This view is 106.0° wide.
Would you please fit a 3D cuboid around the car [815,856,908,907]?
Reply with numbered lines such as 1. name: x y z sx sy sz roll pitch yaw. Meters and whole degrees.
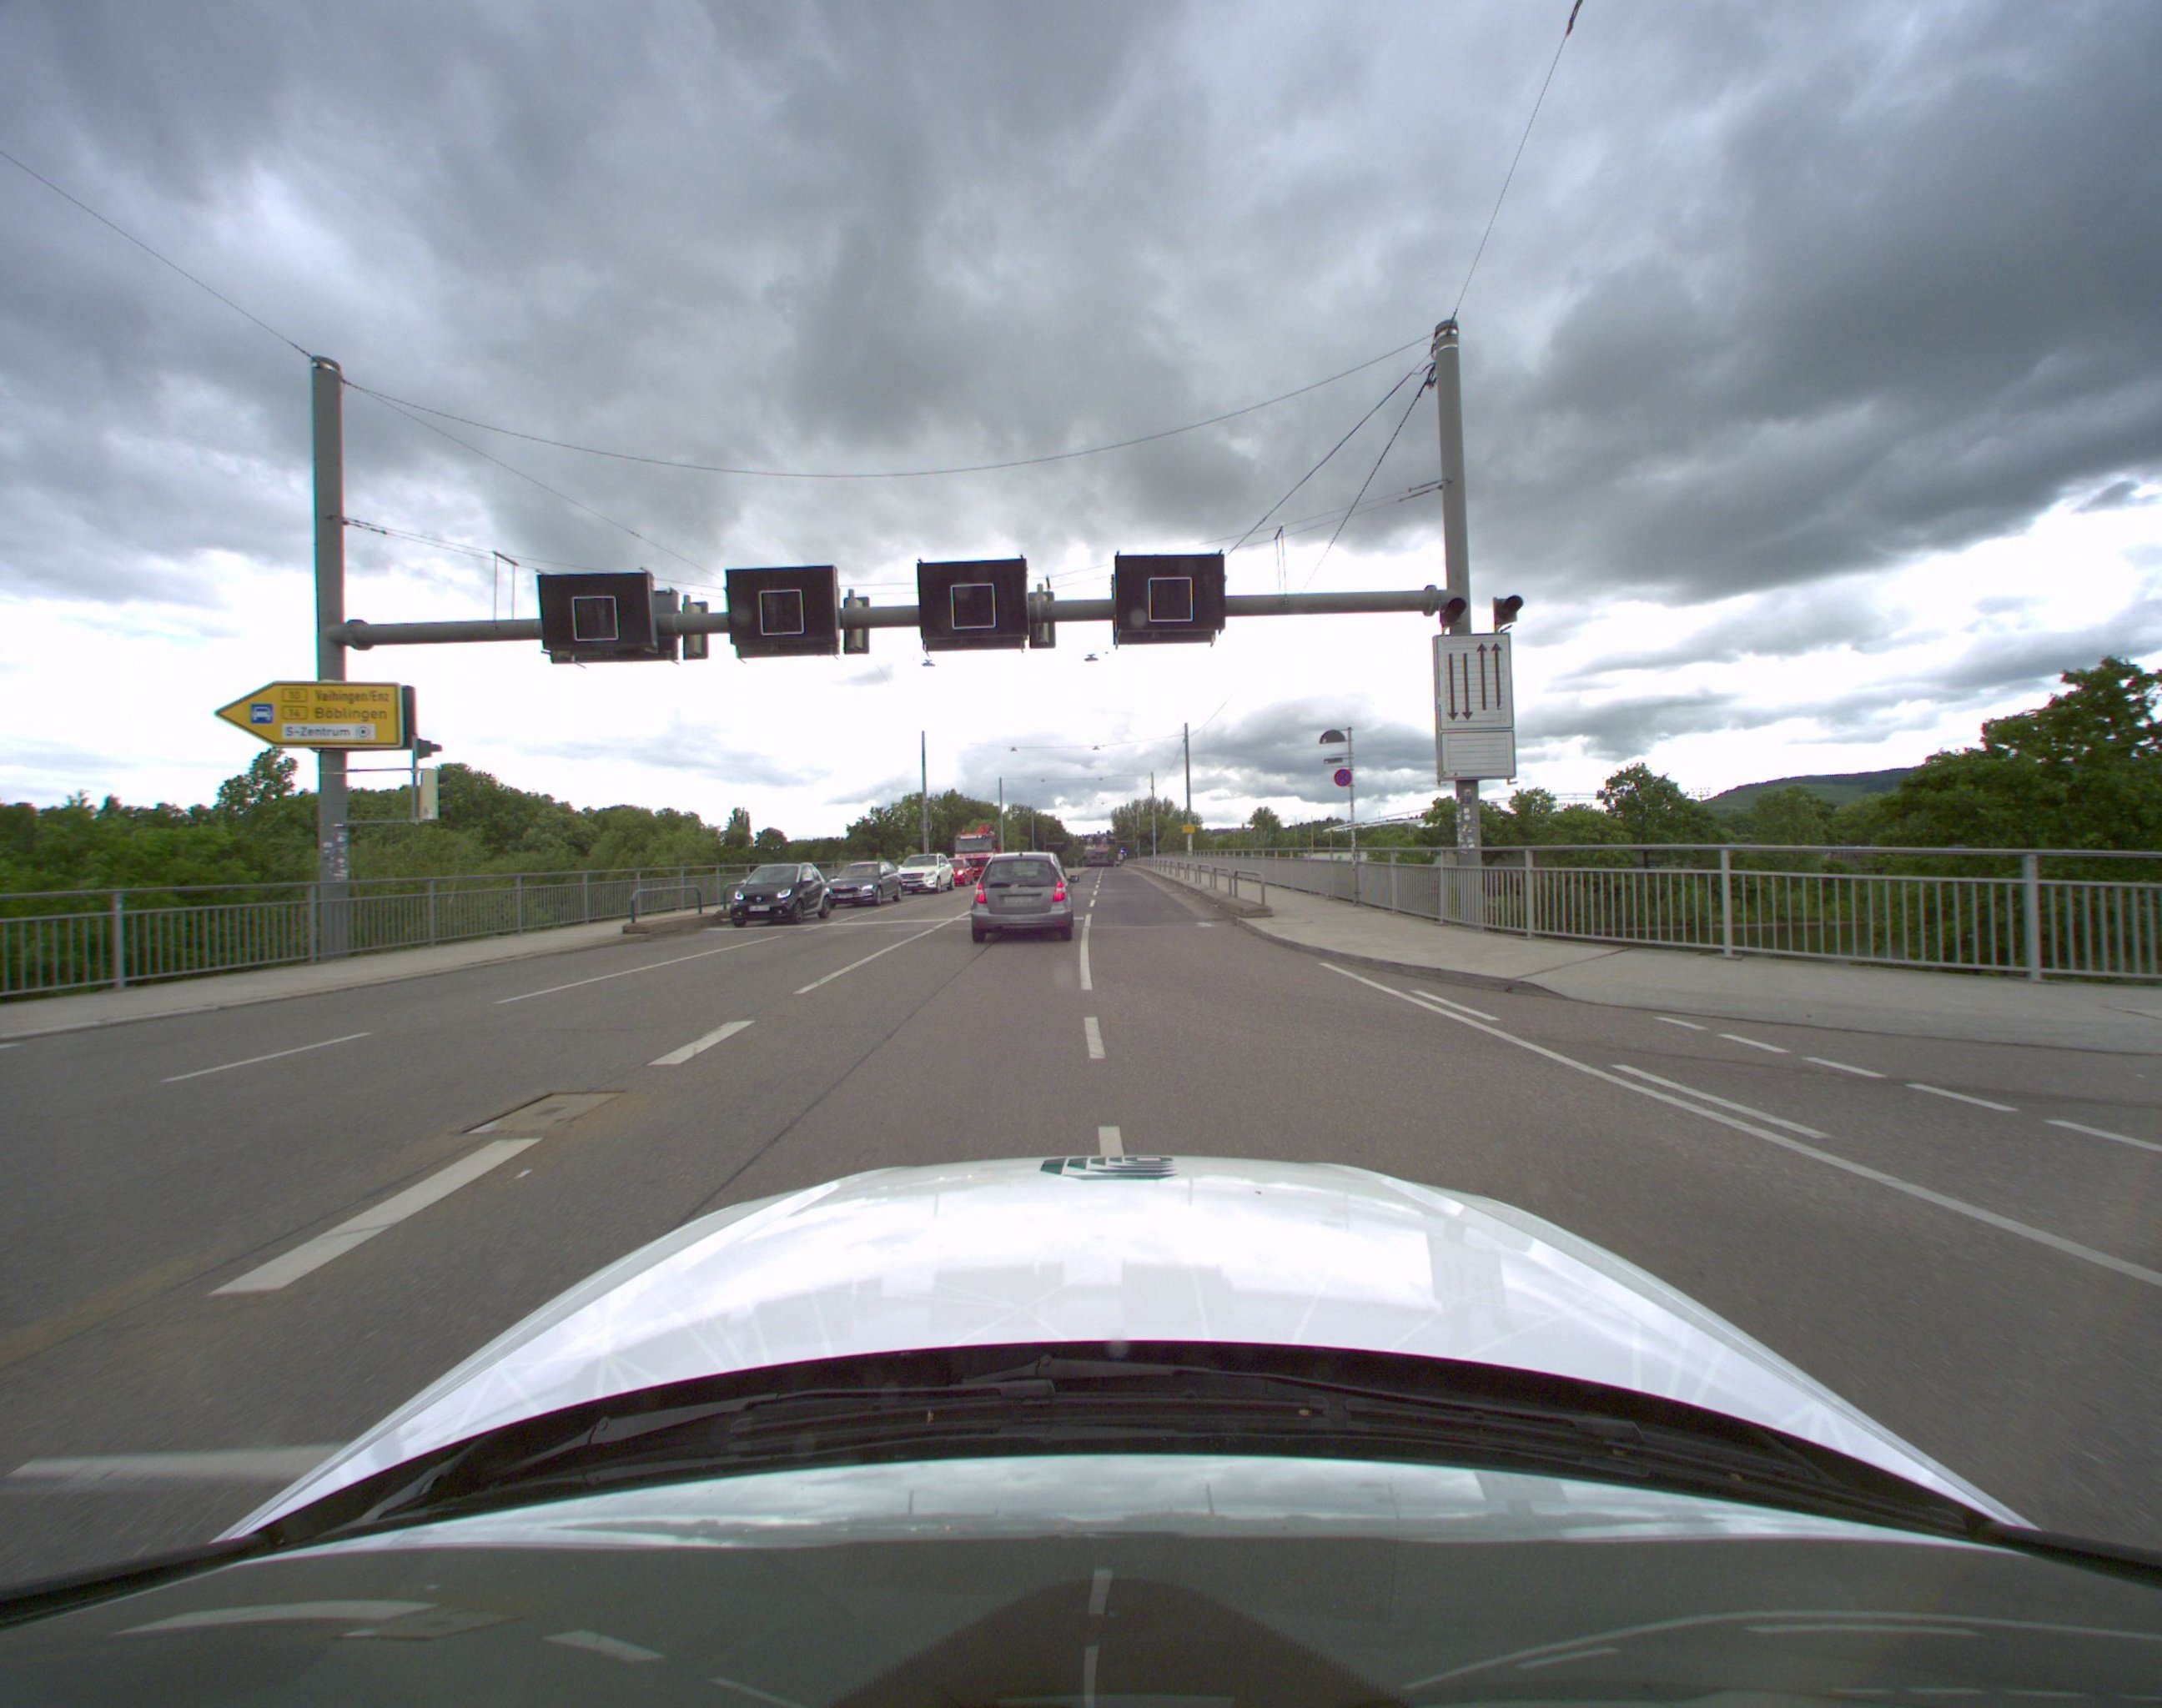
1. car: -7.491 0.881 28.229 1.829 1.504 4.518 -3 0 1

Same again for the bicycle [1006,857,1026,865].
1. bicycle: -9.256 0.952 115.477 2.785 1.051 0.919 -1 0 -4

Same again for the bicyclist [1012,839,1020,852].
1. bicyclist: -9.243 -1.236 115.498 1.130 1.764 0.904 -1 0 -4

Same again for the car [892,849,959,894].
1. car: -6.838 0.733 36.274 1.873 1.761 4.804 -3 0 1

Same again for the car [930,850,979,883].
1. car: -6.804 0.622 44.298 1.873 1.602 4.017 -3 0 1

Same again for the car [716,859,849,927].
1. car: -7.794 0.948 21.678 1.827 1.504 3.875 -3 0 3

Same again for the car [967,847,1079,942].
1. car: -0.974 0.665 15.588 1.739 1.550 3.872 -1 1 1

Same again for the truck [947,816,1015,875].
1. truck: -6.639 -0.573 55.580 2.995 3.565 9.986 -3 0 2
